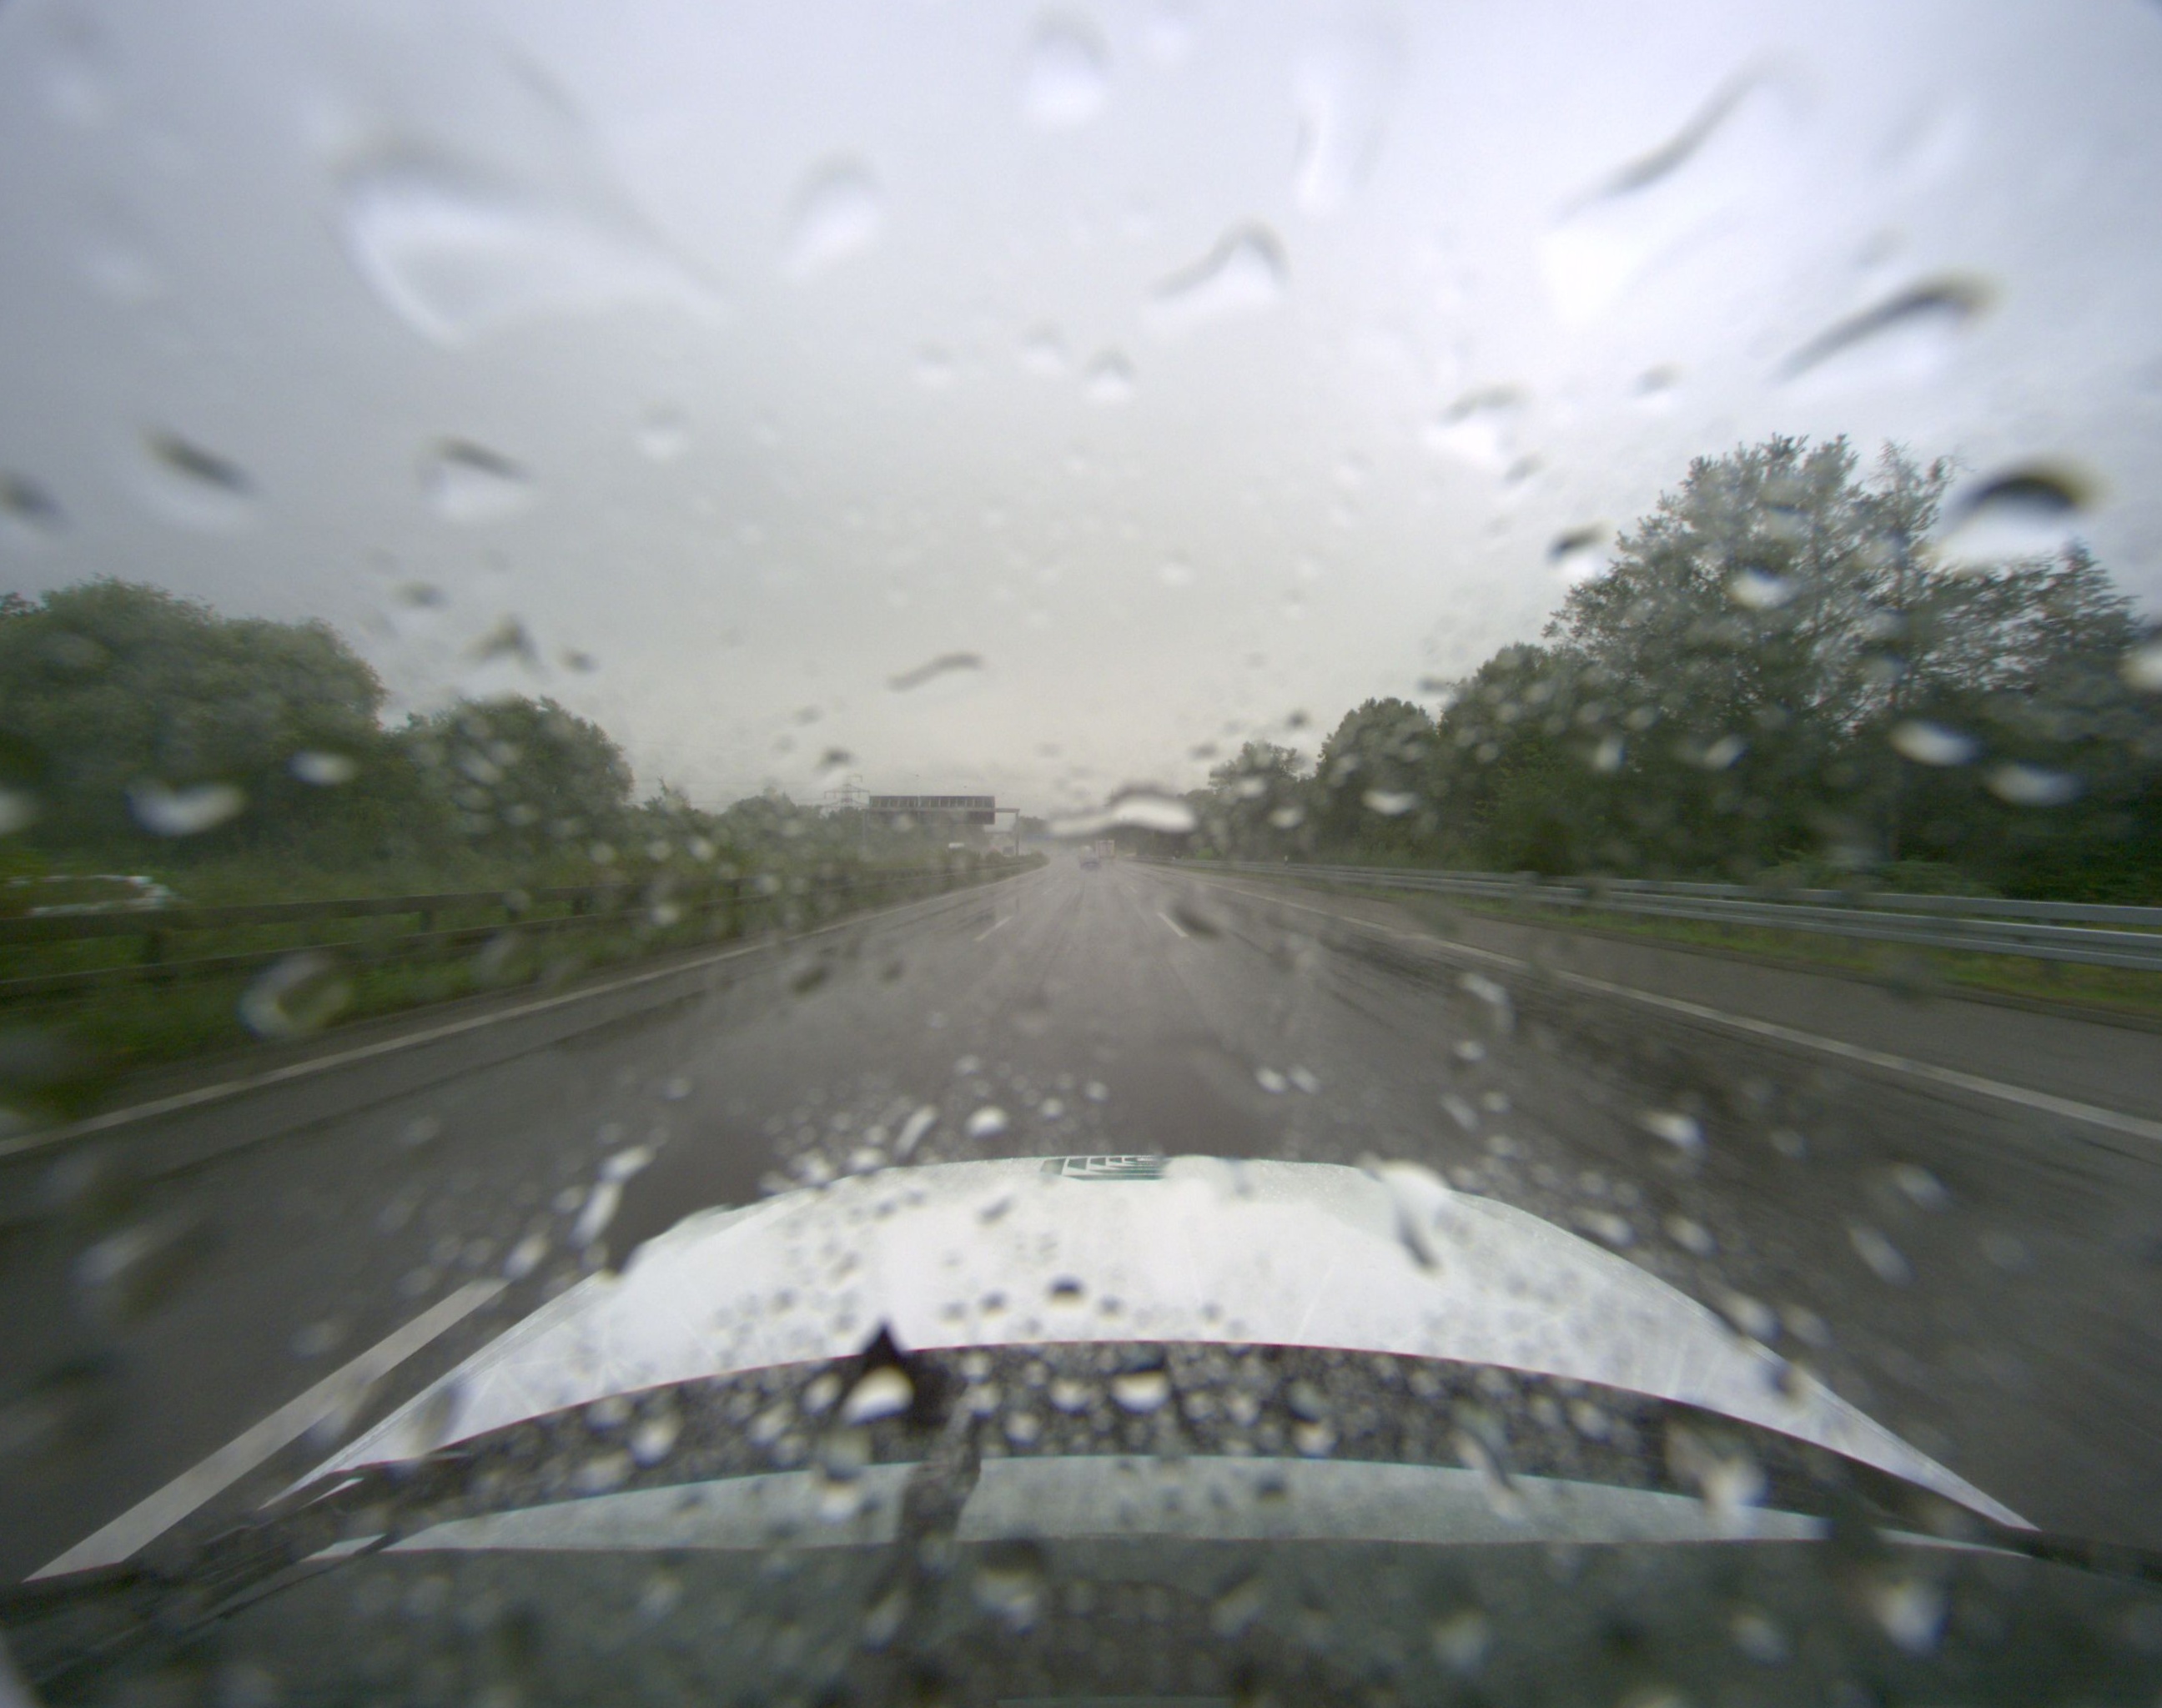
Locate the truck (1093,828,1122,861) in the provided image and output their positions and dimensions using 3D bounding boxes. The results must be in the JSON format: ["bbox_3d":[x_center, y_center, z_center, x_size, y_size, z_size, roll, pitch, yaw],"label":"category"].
[{"bbox_3d":[4.248,-1.578,135.219,4.241,4.971,17.344,-2,1,1],"label":"truck"}]

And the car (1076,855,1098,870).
[{"bbox_3d":[0.569,0.724,70.893,1.742,1.212,4.002,1,0,2],"label":"car"}]
